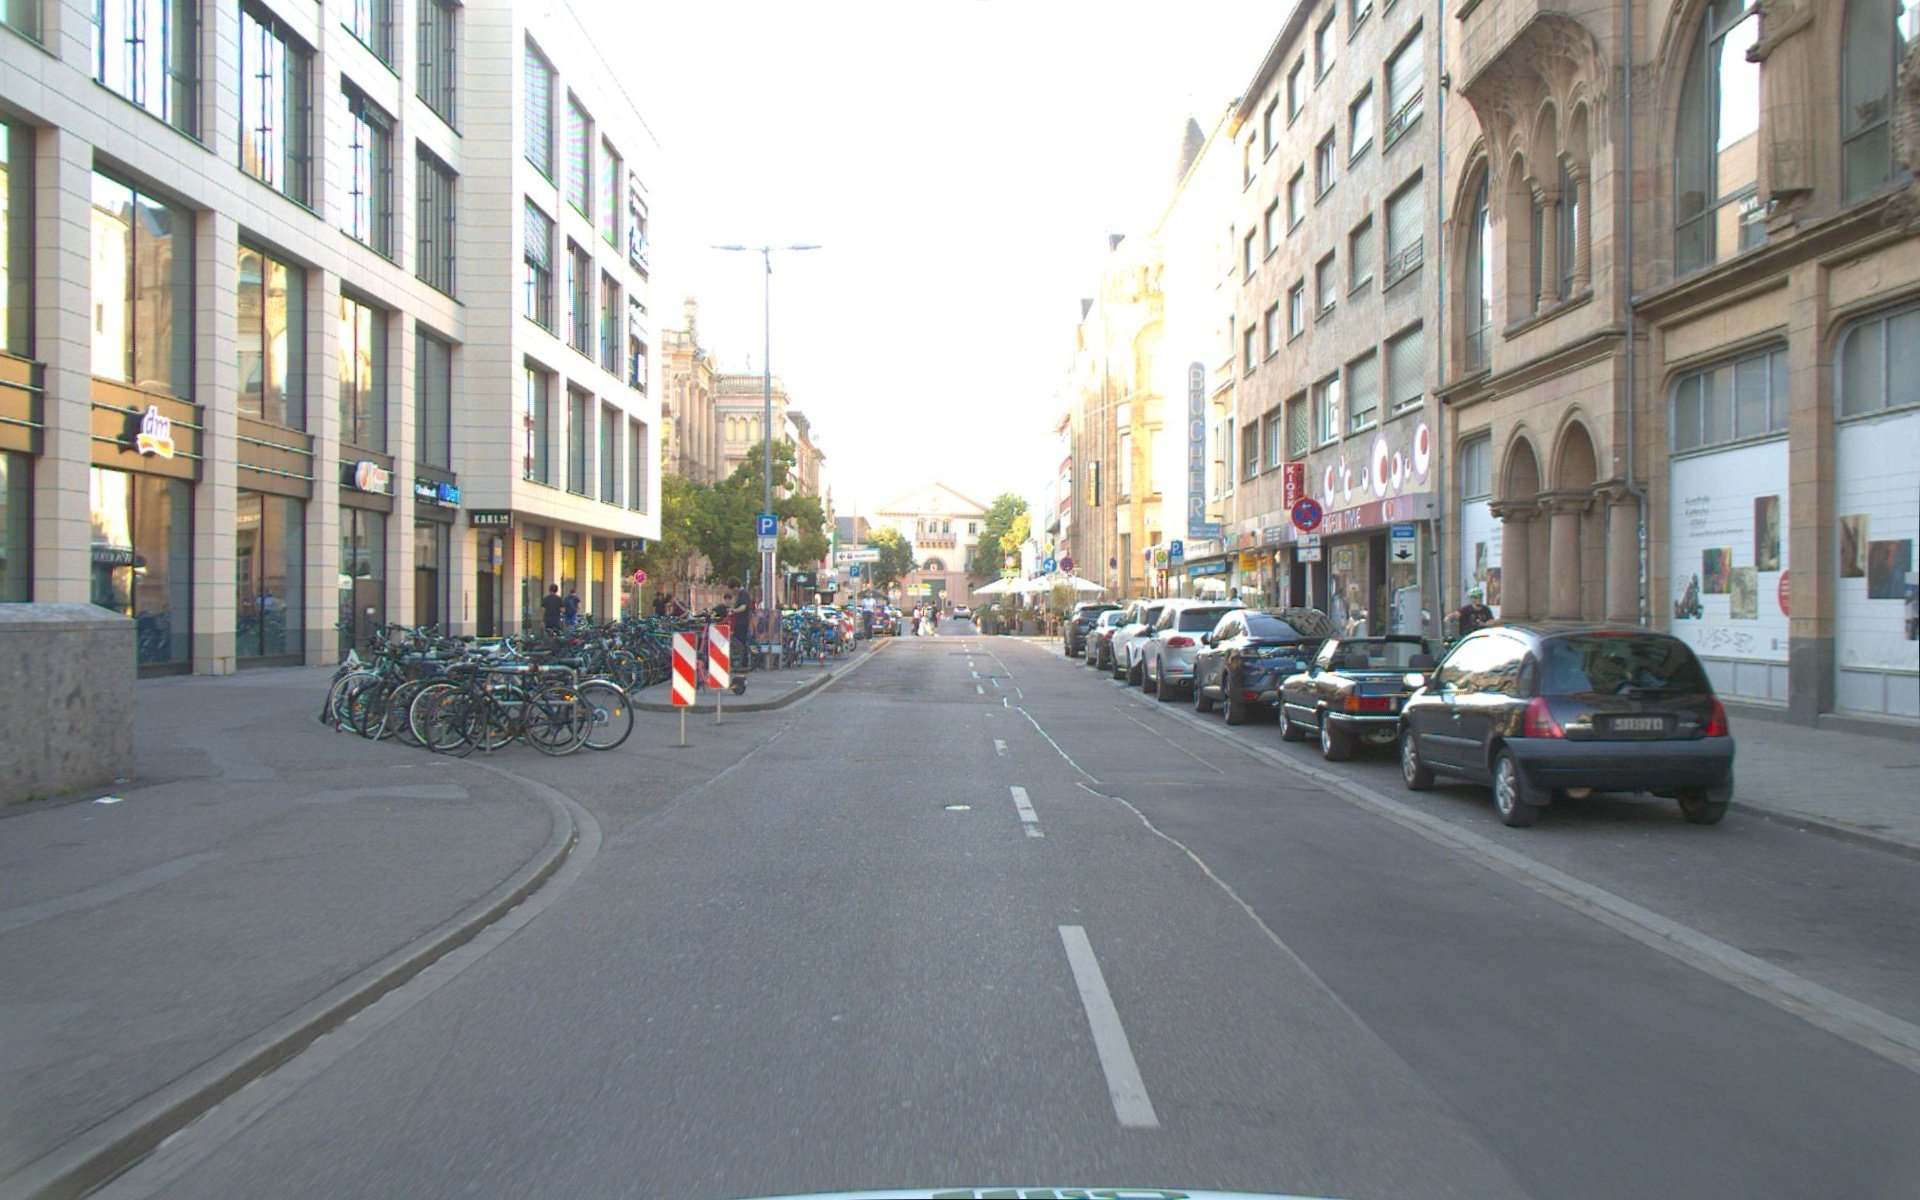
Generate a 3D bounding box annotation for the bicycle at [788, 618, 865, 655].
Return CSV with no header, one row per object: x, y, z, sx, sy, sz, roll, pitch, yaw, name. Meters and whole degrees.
-3.784,1.031,46.971,2.104,1.047,0.640,0,0,1,bicycle

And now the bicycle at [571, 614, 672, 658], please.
-7.526,0.796,36.840,2.104,0.970,0.640,0,0,1,bicycle

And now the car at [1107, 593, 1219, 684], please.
4.290,0.779,35.544,1.763,1.799,4.397,-1,0,-1,car

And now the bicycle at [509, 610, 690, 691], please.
-6.013,0.818,27.655,2.852,1.277,0.797,0,0,-27,bicycle

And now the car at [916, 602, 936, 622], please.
-3.354,1.154,165.648,1.953,1.937,3.999,1,0,-1,car

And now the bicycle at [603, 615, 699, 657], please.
-7.202,0.847,38.633,2.104,0.970,0.640,0,0,1,bicycle

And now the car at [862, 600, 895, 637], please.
-4.594,1.008,93.609,1.676,2.049,3.999,0,0,-1,car

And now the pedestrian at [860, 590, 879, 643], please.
-3.168,0.575,57.850,0.590,1.855,0.449,0,0,-21,pedestrian

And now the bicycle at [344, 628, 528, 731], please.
-6.079,0.915,19.233,1.946,1.141,0.553,2,-1,-30,bicycle

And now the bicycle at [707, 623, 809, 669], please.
-4.313,0.980,35.426,2.104,0.970,0.640,0,0,1,bicycle

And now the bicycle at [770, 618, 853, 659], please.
-3.903,1.012,43.609,2.104,1.047,0.640,0,0,1,bicycle

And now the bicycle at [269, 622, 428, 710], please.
-8.283,0.889,22.429,1.946,1.141,0.553,2,-1,-30,bicycle

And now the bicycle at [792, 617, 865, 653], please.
-3.868,1.038,48.775,2.104,1.047,0.640,0,0,1,bicycle

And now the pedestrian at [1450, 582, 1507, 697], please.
7.879,0.597,25.150,0.631,1.719,0.671,0,0,-2,pedestrian

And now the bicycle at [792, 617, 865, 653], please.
-3.930,1.040,49.500,2.104,1.047,0.640,0,0,1,bicycle

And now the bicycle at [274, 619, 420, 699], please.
-9.103,0.879,24.589,1.946,1.141,0.553,2,-1,-30,bicycle

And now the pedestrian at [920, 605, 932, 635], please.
-1.681,0.981,81.814,0.538,1.512,0.565,0,0,-3,pedestrian

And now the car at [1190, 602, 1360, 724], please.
4.396,0.838,23.571,1.645,1.574,3.672,-1,0,-1,car

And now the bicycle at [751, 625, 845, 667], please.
-3.767,1.063,38.468,2.104,0.970,0.640,0,0,1,bicycle

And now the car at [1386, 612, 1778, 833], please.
4.704,0.843,13.074,1.645,1.449,3.672,-1,0,-1,car

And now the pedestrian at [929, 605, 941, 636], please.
-1.219,0.985,80.299,0.538,1.512,0.565,0,0,-3,pedestrian

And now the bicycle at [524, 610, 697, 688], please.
-6.035,0.822,28.629,2.852,1.277,0.797,0,0,-27,bicycle

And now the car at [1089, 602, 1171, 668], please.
4.294,0.868,42.283,1.645,1.574,3.672,-1,0,-1,car

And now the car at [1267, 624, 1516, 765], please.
4.668,0.968,18.456,1.645,1.313,4.046,-1,0,-1,car

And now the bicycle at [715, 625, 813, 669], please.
-4.381,1.041,37.037,2.104,0.970,0.640,0,0,1,bicycle

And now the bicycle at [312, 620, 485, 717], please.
-6.929,0.842,20.454,1.946,1.141,0.553,2,-1,-30,bicycle

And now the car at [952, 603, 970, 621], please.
0.128,1.329,184.327,1.953,1.937,3.999,1,0,-1,car

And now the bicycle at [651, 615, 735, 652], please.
-7.005,0.874,43.460,2.104,0.970,0.640,0,0,1,bicycle

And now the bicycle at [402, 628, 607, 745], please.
-4.677,0.881,17.040,1.946,1.141,0.553,2,-1,-30,bicycle

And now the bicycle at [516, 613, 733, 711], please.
-4.636,0.830,22.929,2.852,1.277,0.797,0,0,-27,bicycle

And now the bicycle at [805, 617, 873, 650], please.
-3.832,1.056,52.366,2.104,1.047,0.640,0,0,1,bicycle

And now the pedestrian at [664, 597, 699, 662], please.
-6.641,0.699,39.455,0.736,1.556,0.485,0,0,-1,pedestrian

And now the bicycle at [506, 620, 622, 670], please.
-7.745,0.880,32.399,2.104,0.970,0.640,0,0,1,bicycle

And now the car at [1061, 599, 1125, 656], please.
4.136,0.843,51.865,1.645,1.695,3.672,-1,0,-1,car

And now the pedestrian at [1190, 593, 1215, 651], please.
7.434,0.680,50.753,0.631,1.777,0.671,0,0,-2,pedestrian

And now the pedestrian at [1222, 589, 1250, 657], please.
7.589,0.629,45.511,0.631,1.831,0.671,0,0,-2,pedestrian

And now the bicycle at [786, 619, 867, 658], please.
-3.572,1.024,44.405,2.104,1.047,0.640,0,0,1,bicycle

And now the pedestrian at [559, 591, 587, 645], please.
-11.892,0.563,50.795,0.716,1.649,0.661,0,0,-1,pedestrian

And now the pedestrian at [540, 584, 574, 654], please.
-9.552,0.441,39.190,0.666,1.649,0.573,0,0,-1,pedestrian

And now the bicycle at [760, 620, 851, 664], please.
-3.675,0.998,39.404,2.104,1.047,0.640,0,0,1,bicycle

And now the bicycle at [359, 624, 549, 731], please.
-5.675,0.864,18.598,1.946,1.141,0.553,2,-1,-30,bicycle

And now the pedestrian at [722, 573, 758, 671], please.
-4.222,0.423,31.727,0.645,1.855,0.527,0,0,-11,pedestrian

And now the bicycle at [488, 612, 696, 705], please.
-5.327,0.818,24.003,2.852,1.277,0.797,0,0,-27,bicycle

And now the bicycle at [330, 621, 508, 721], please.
-6.476,0.850,19.856,1.946,1.141,0.553,2,-1,-30,bicycle

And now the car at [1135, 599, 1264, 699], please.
4.208,0.825,29.583,1.645,1.641,4.027,-1,0,-1,car

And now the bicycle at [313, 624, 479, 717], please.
-7.288,0.909,21.396,1.946,1.141,0.553,2,-1,-30,bicycle

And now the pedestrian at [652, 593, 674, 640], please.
-10.330,0.575,57.572,0.666,1.649,0.573,0,0,-1,pedestrian

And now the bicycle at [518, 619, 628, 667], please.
-7.995,0.882,34.203,2.104,0.970,0.640,0,0,1,bicycle

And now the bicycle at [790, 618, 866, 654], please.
-3.802,1.035,47.740,2.104,1.047,0.640,0,0,1,bicycle

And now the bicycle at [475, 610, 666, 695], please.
-6.151,0.807,26.179,2.852,1.277,0.797,0,0,-27,bicycle

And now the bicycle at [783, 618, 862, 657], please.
-3.743,1.024,45.132,2.104,1.047,0.640,0,0,1,bicycle

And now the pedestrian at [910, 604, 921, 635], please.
-2.197,0.965,81.140,0.538,1.512,0.565,0,0,-3,pedestrian

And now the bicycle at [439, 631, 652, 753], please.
-4.067,0.893,16.298,1.946,1.141,0.553,2,-1,-30,bicycle

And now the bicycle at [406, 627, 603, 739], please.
-4.876,0.880,17.755,1.946,1.141,0.553,2,-1,-30,bicycle
